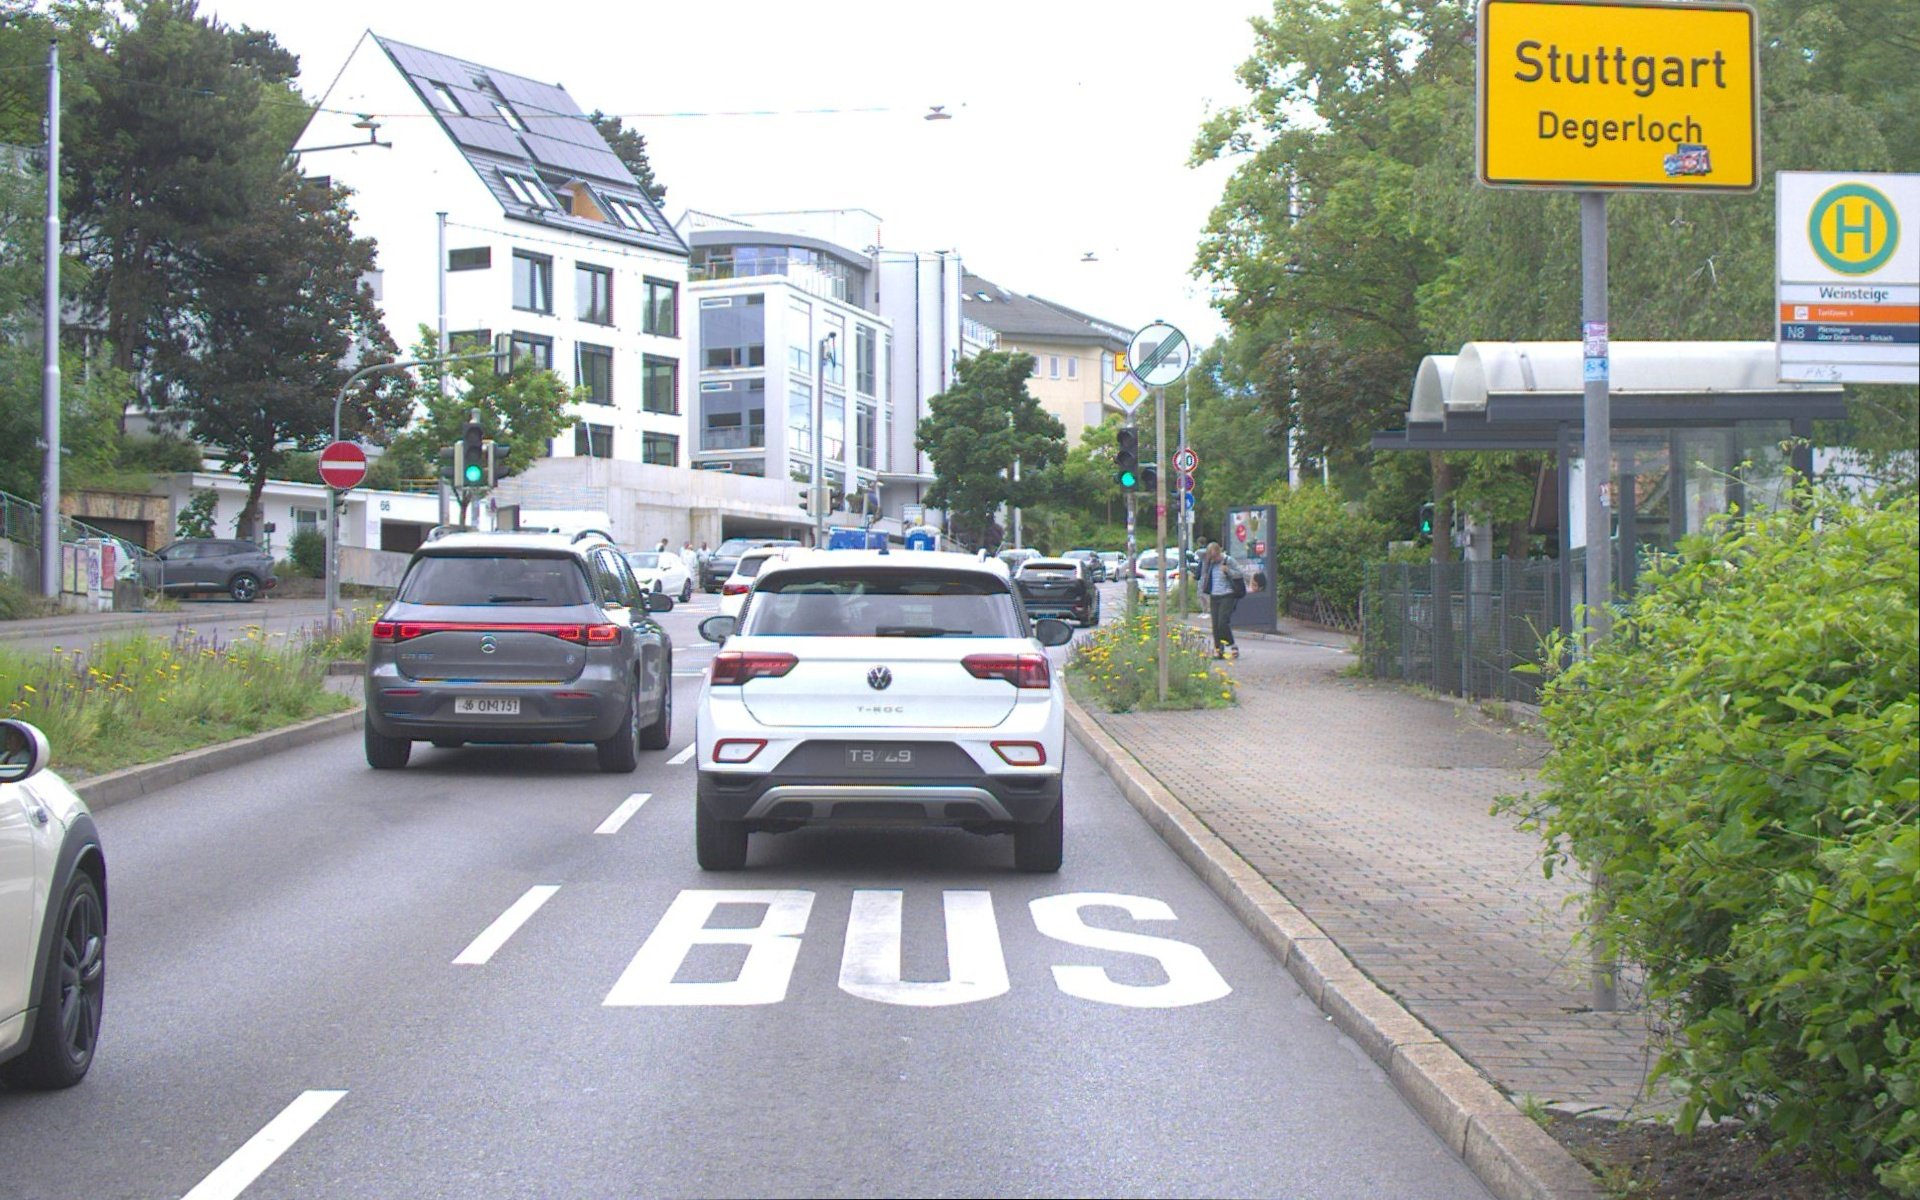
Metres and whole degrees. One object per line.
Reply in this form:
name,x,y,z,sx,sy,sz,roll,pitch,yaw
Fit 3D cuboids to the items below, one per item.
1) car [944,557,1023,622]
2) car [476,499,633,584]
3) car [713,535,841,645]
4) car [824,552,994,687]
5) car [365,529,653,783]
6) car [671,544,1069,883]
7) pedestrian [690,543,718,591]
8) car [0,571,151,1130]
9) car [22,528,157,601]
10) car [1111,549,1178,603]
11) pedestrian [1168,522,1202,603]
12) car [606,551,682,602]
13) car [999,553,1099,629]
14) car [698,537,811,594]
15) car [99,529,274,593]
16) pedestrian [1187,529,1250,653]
car,0.577,-0.276,83.207,1.858,1.495,4.056,0,1,1
car,-12.472,-1.806,106.395,2.233,2.559,7.417,0,1,15
car,-2.860,-0.183,54.601,1.858,1.646,4.636,-1,1,-1
car,-0.690,0.196,43.089,1.873,1.496,4.556,3,1,-3
car,-3.165,0.334,24.891,1.812,1.646,4.637,-1,1,-4
car,-0.478,0.493,17.614,1.811,1.534,3.690,-1,1,-2
pedestrian,-8.948,-1.167,120.216,0.674,1.634,0.672,1,1,-33
car,-3.228,0.643,8.255,1.628,1.388,3.566,0,1,2
car,-19.956,-0.802,78.830,2.701,1.515,1.564,3,-1,-24
car,5.258,-0.715,98.461,1.858,1.495,4.055,0,1,2
pedestrian,5.133,-0.860,78.585,0.693,1.827,0.620,2,1,7
car,-8.800,-0.681,95.957,1.717,1.388,4.609,0,1,0
car,1.901,-0.220,74.867,1.873,1.496,4.555,3,1,-1
car,-7.117,-1.209,119.442,1.984,1.960,5.213,0,1,20
car,-18.796,-0.948,83.595,4.118,1.534,1.599,0,1,-13
pedestrian,3.564,-0.125,47.450,0.694,1.683,0.619,-1,0,21
